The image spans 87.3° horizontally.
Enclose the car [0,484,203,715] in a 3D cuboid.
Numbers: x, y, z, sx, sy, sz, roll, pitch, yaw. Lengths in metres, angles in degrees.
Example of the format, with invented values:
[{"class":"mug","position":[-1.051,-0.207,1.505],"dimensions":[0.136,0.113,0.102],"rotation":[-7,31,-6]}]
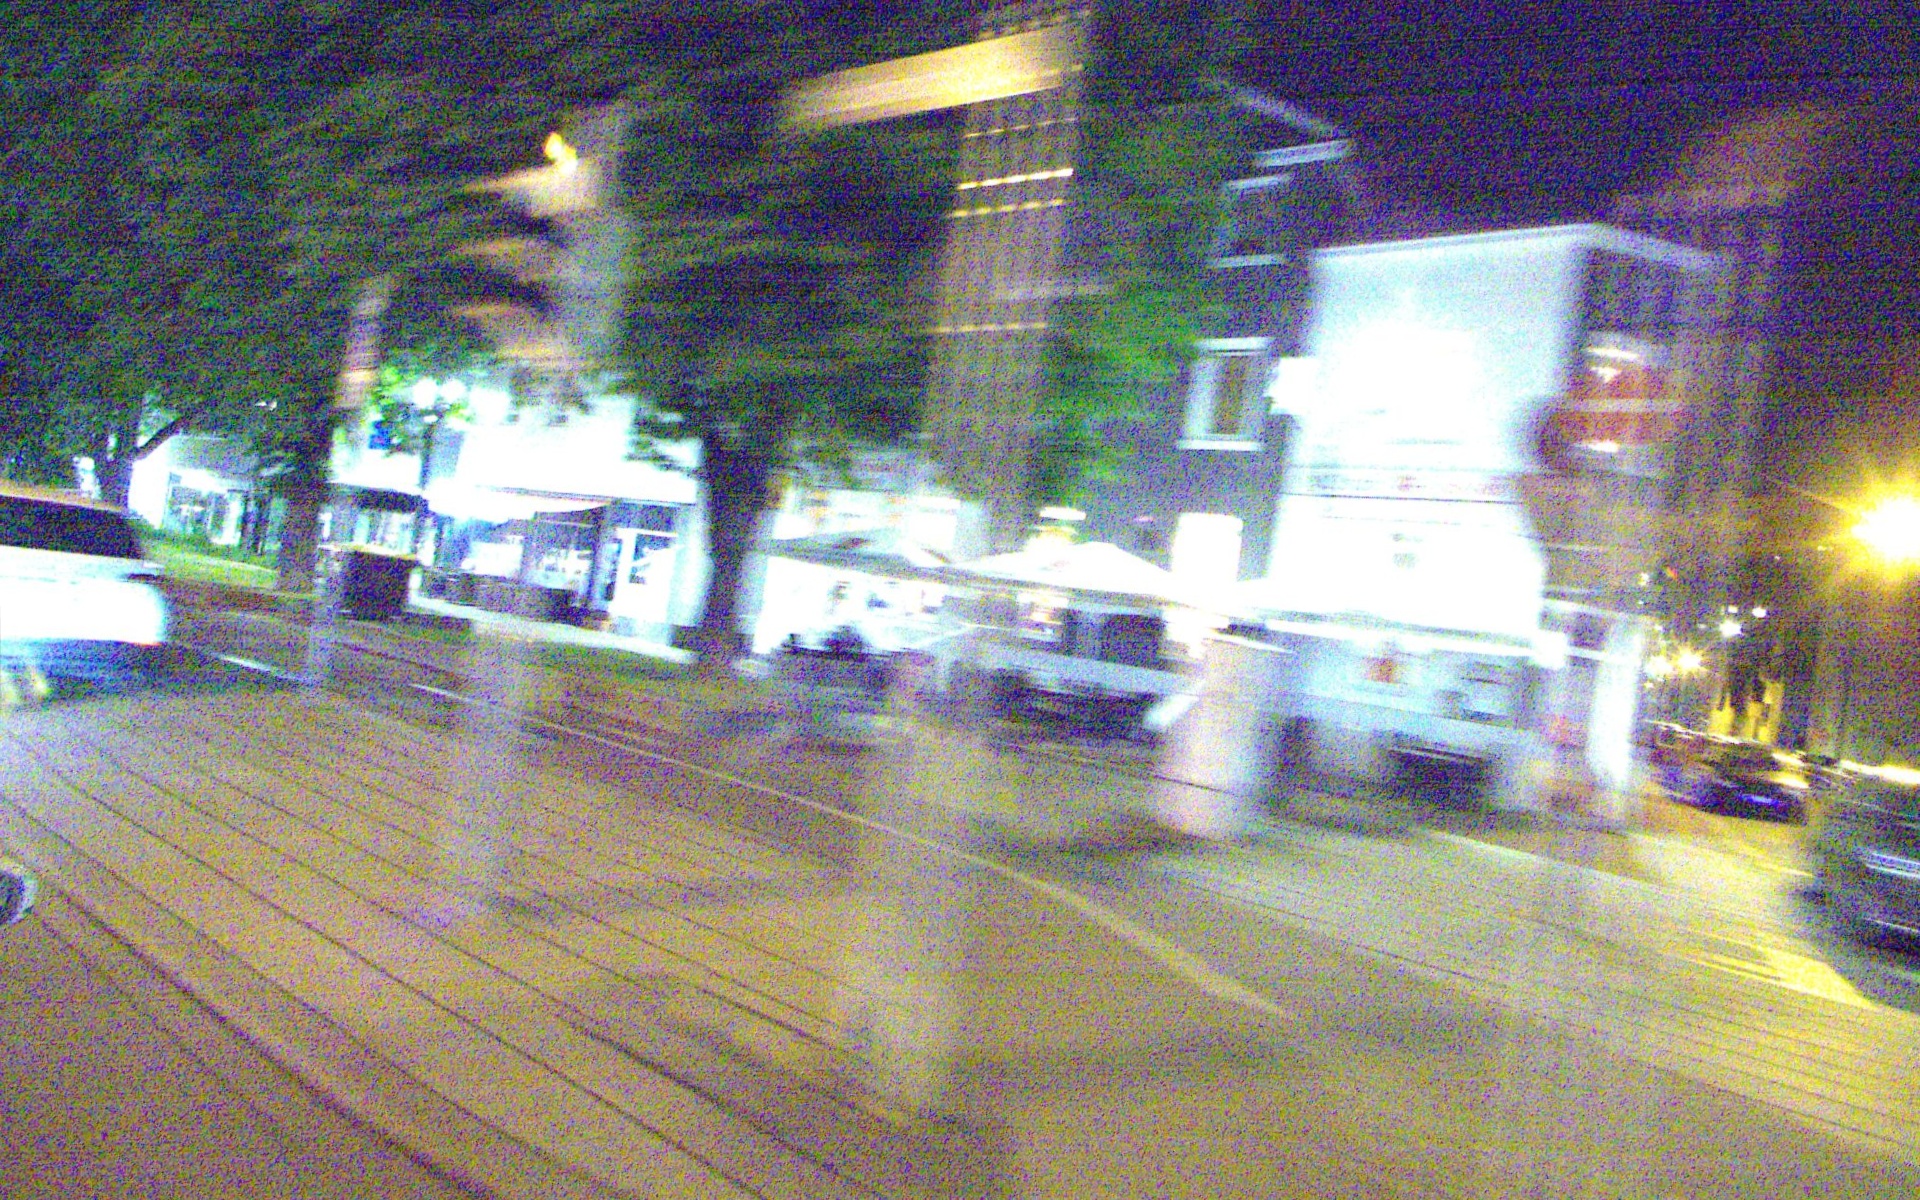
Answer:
[{"class":"car","position":[-8.071,-0.192,8.141],"dimensions":[4.149,1.556,1.771],"rotation":[7,0,34]}]

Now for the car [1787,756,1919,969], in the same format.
[{"class":"car","position":[9.497,2.482,9.628],"dimensions":[1.774,1.549,4.323],"rotation":[6,-3,32]}]

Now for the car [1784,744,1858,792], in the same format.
[{"class":"car","position":[38.993,7.571,45.654],"dimensions":[1.773,1.568,4.149],"rotation":[9,0,32]}]

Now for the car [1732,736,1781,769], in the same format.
[{"class":"car","position":[50.593,9.656,63.968],"dimensions":[1.773,1.568,4.149],"rotation":[9,0,32]}]

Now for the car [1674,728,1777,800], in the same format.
[{"class":"car","position":[21.135,4.466,27.921],"dimensions":[1.774,1.567,4.150],"rotation":[5,-3,32]}]

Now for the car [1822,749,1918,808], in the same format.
[{"class":"car","position":[34.033,6.641,37.745],"dimensions":[1.773,1.568,4.149],"rotation":[9,0,32]}]

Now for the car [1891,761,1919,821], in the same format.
[{"class":"car","position":[28.801,5.735,29.135],"dimensions":[1.773,1.568,4.149],"rotation":[9,0,32]}]

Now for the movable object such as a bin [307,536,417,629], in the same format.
[{"class":"movable object such as a bin","position":[-10.348,-0.292,17.427],"dimensions":[0.977,1.386,1.163],"rotation":[7,-2,32]}]

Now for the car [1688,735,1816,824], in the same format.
[{"class":"car","position":[18.194,4.050,23.282],"dimensions":[1.774,1.567,4.150],"rotation":[5,-3,32]}]
